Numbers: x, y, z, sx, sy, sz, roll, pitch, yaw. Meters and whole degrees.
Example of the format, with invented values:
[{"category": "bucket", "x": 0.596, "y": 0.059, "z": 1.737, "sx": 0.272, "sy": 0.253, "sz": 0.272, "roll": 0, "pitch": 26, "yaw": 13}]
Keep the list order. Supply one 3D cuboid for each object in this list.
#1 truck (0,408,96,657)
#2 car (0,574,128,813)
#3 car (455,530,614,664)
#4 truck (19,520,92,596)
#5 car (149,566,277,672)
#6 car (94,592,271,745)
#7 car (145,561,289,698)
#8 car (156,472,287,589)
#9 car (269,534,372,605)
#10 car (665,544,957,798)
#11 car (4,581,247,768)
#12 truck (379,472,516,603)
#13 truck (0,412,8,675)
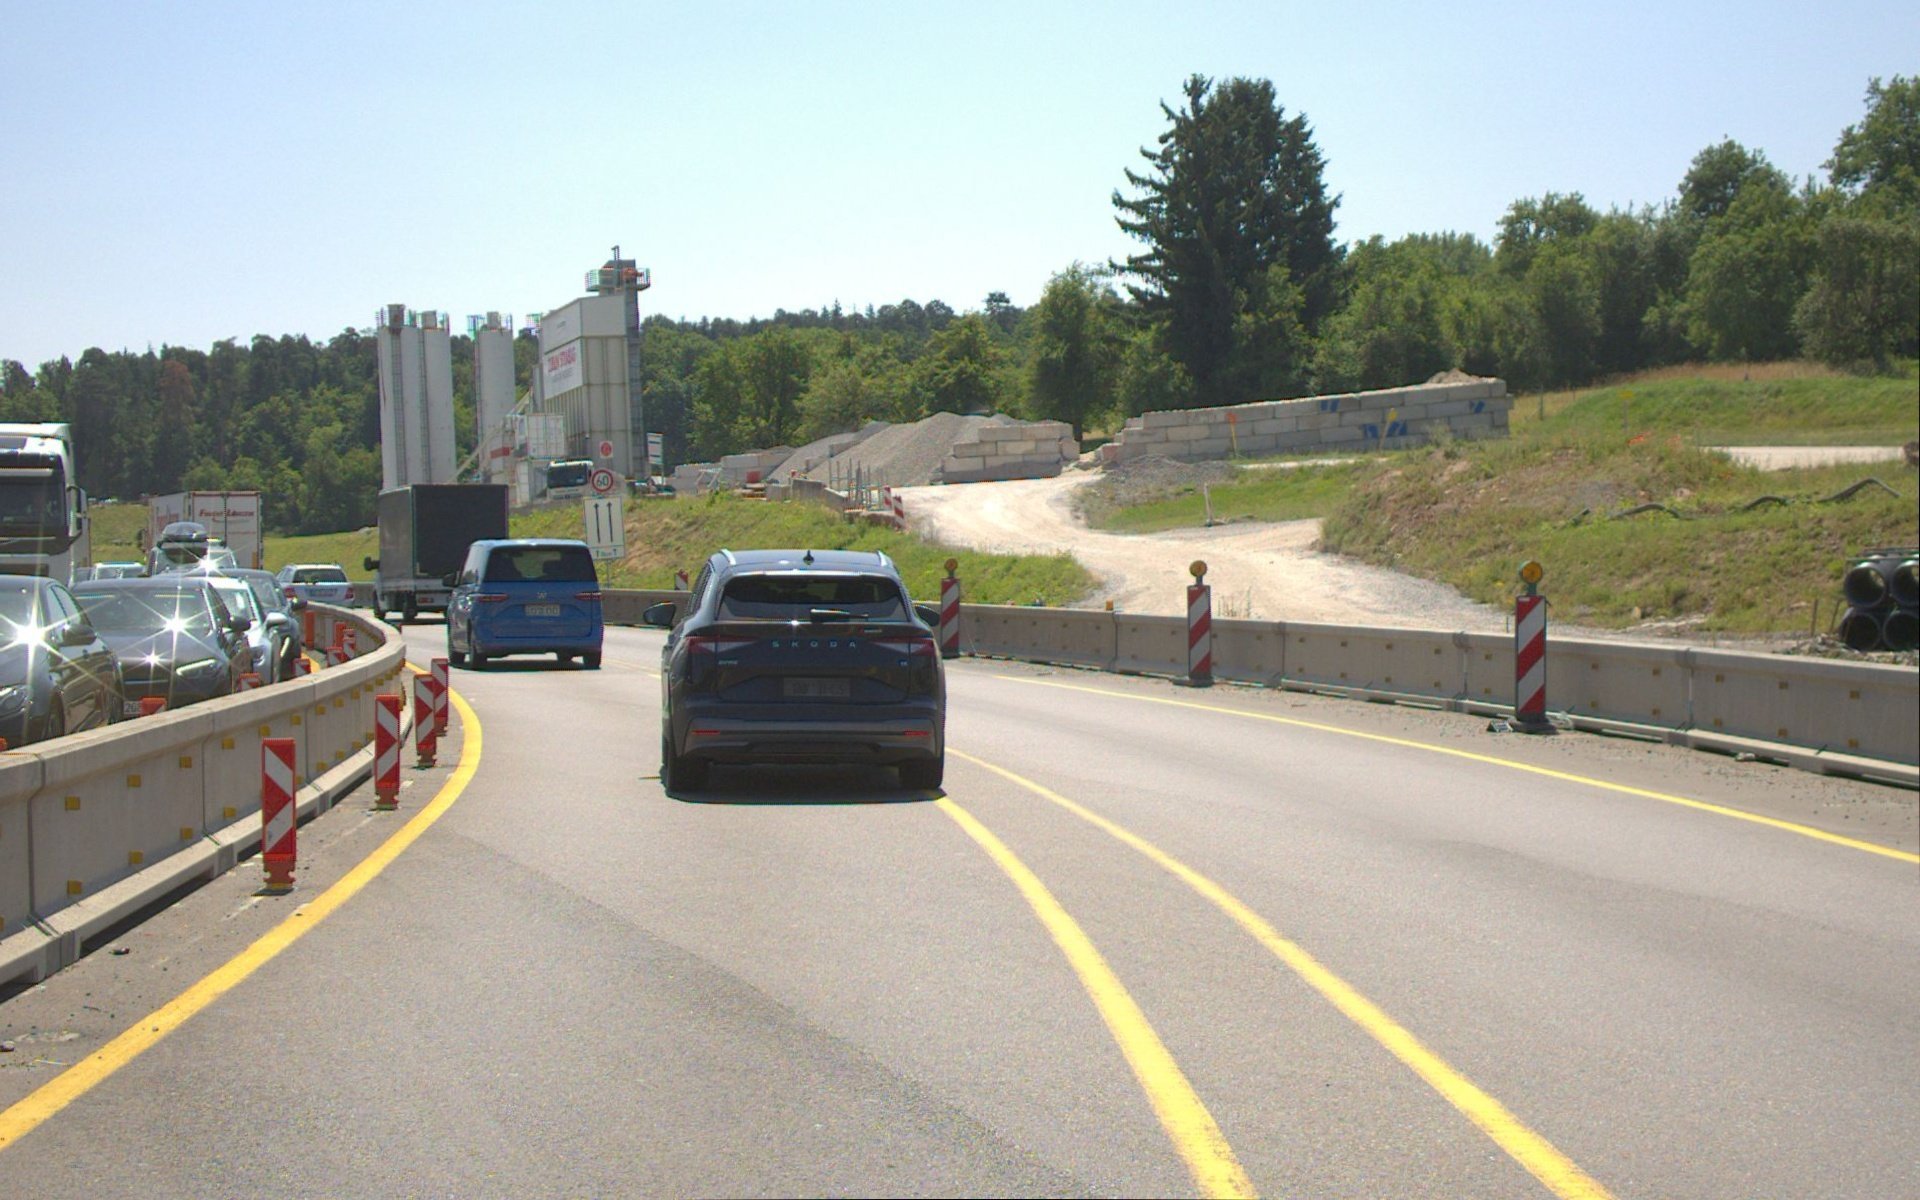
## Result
[{"category": "truck", "x": -16.067, "y": -1.124, "z": 58.061, "sx": 2.699, "sy": 3.955, "sz": 6.201, "roll": -2, "pitch": 1, "yaw": -14}, {"category": "car", "x": -6.701, "y": 0.562, "z": 22.834, "sx": 1.725, "sy": 1.403, "sz": 4.130, "roll": -1, "pitch": 1, "yaw": -6}, {"category": "car", "x": -6.336, "y": -0.084, "z": 50.880, "sx": 1.993, "sy": 1.837, "sz": 4.001, "roll": -2, "pitch": 2, "yaw": -11}, {"category": "truck", "x": -51.536, "y": -2.438, "z": 195.666, "sx": 3.474, "sy": 4.206, "sz": 10.380, "roll": 0, "pitch": 1, "yaw": -18}, {"category": "car", "x": -10.964, "y": 0.235, "z": 50.432, "sx": 1.735, "sy": 1.411, "sz": 4.798, "roll": -1, "pitch": 1, "yaw": -12}, {"category": "car", "x": -8.260, "y": 0.683, "z": 36.807, "sx": 1.677, "sy": 1.439, "sz": 4.555, "roll": -1, "pitch": 1, "yaw": -11}, {"category": "car", "x": -9.377, "y": 0.337, "z": 43.582, "sx": 1.677, "sy": 1.539, "sz": 4.119, "roll": 1, "pitch": 2, "yaw": -11}, {"category": "car", "x": -27.431, "y": -2.582, "z": 127.428, "sx": 3.435, "sy": 4.087, "sz": 9.200, "roll": 1, "pitch": 1, "yaw": -20}, {"category": "car", "x": -15.329, "y": -0.749, "z": 82.223, "sx": 2.045, "sy": 1.521, "sz": 5.067, "roll": -4, "pitch": 2, "yaw": -14}, {"category": "car", "x": -1.003, "y": 0.416, "z": 23.688, "sx": 1.842, "sy": 1.576, "sz": 4.001, "roll": 0, "pitch": 1, "yaw": -2}, {"category": "car", "x": -7.304, "y": 0.598, "z": 30.418, "sx": 1.655, "sy": 1.448, "sz": 4.249, "roll": -1, "pitch": 1, "yaw": -8}, {"category": "truck", "x": -12.483, "y": -1.510, "z": 83.376, "sx": 2.672, "sy": 2.935, "sz": 5.622, "roll": -3, "pitch": 1, "yaw": -13}, {"category": "truck", "x": -13.341, "y": -0.992, "z": 39.829, "sx": 2.773, "sy": 4.263, "sz": 11.783, "roll": -2, "pitch": 1, "yaw": -8}]
